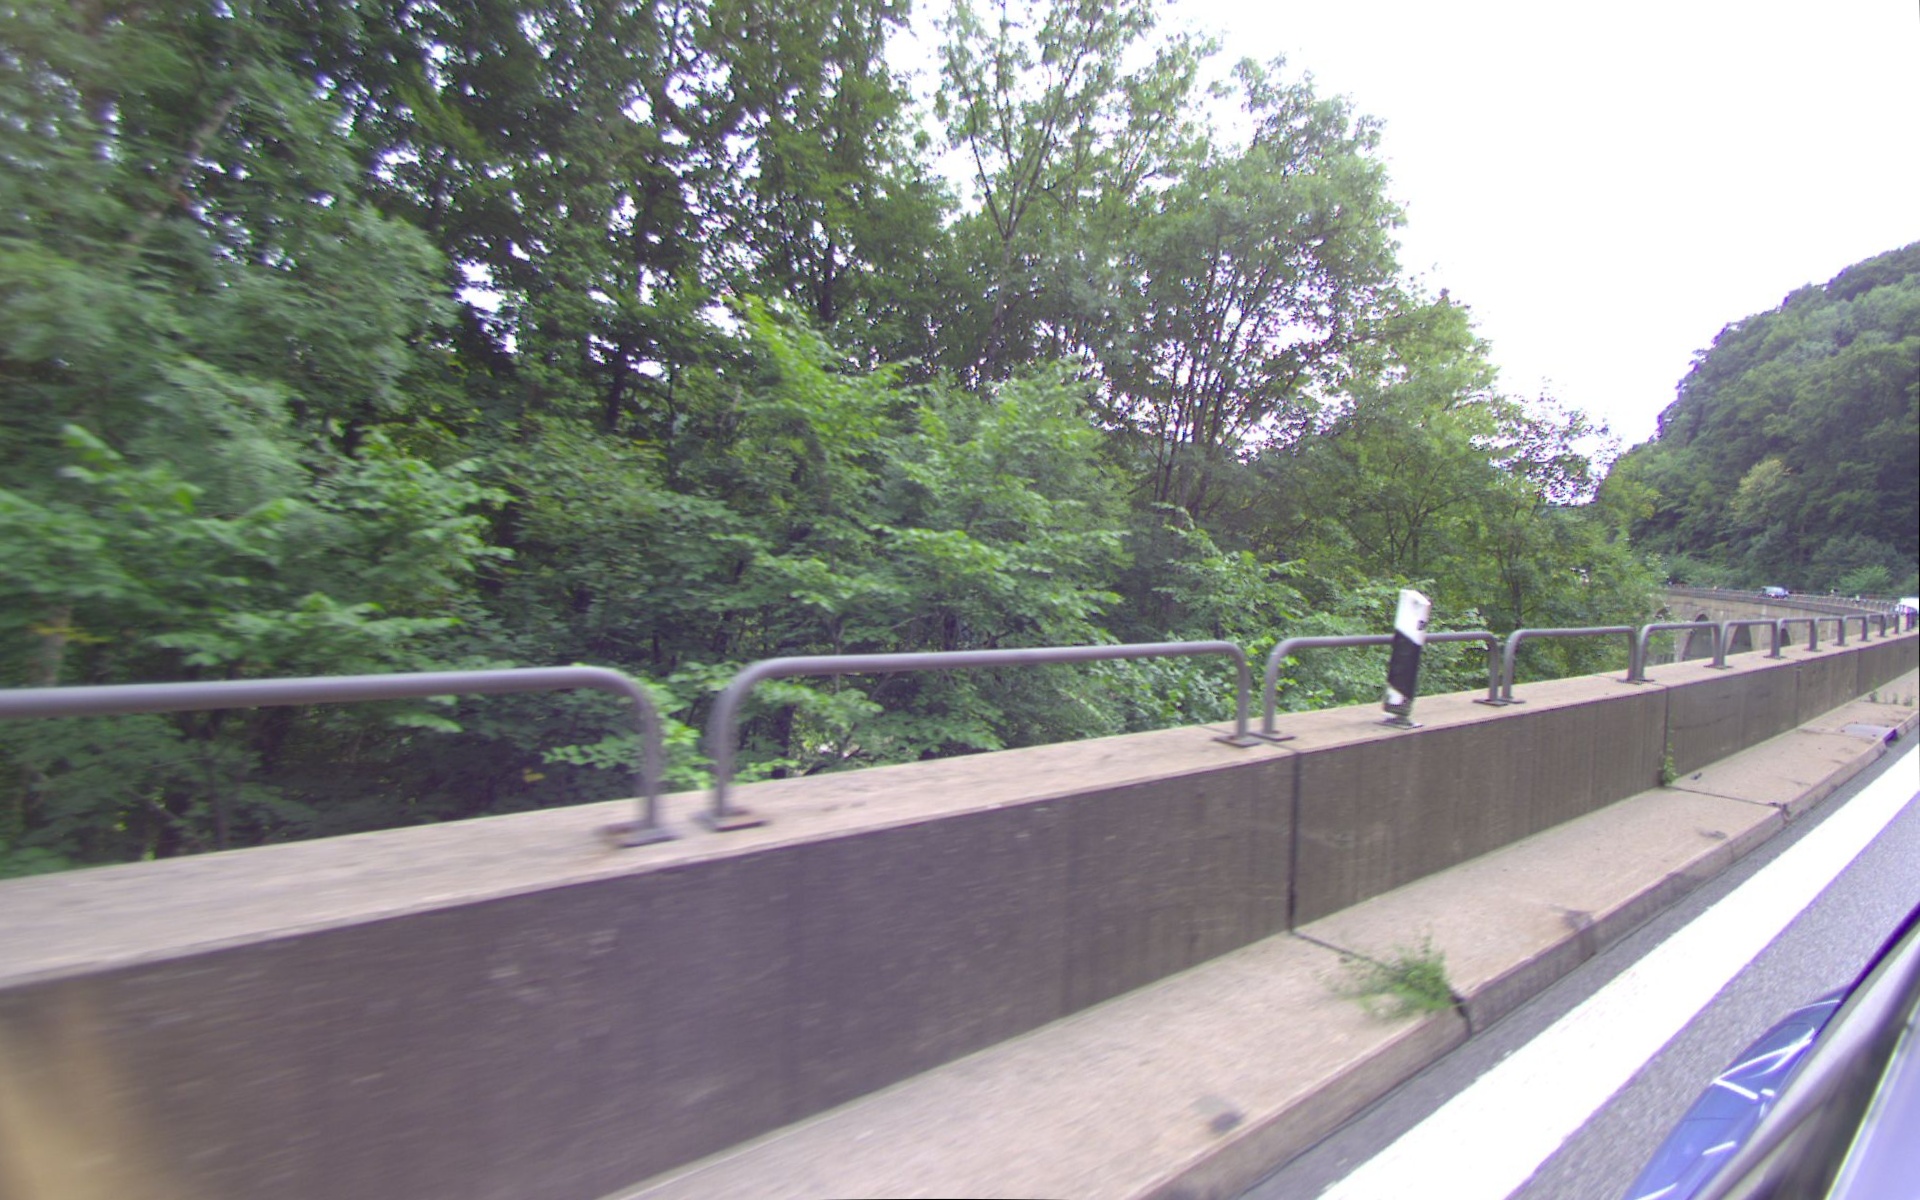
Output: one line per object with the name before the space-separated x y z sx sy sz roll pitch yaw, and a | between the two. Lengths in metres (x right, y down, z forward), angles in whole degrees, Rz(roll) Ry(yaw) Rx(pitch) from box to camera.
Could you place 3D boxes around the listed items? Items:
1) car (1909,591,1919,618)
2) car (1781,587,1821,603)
car | 50.317 0.228 51.904 1.877 1.335 3.949 1 2 36
car | 76.942 -0.480 92.631 1.870 1.335 3.966 1 2 25
